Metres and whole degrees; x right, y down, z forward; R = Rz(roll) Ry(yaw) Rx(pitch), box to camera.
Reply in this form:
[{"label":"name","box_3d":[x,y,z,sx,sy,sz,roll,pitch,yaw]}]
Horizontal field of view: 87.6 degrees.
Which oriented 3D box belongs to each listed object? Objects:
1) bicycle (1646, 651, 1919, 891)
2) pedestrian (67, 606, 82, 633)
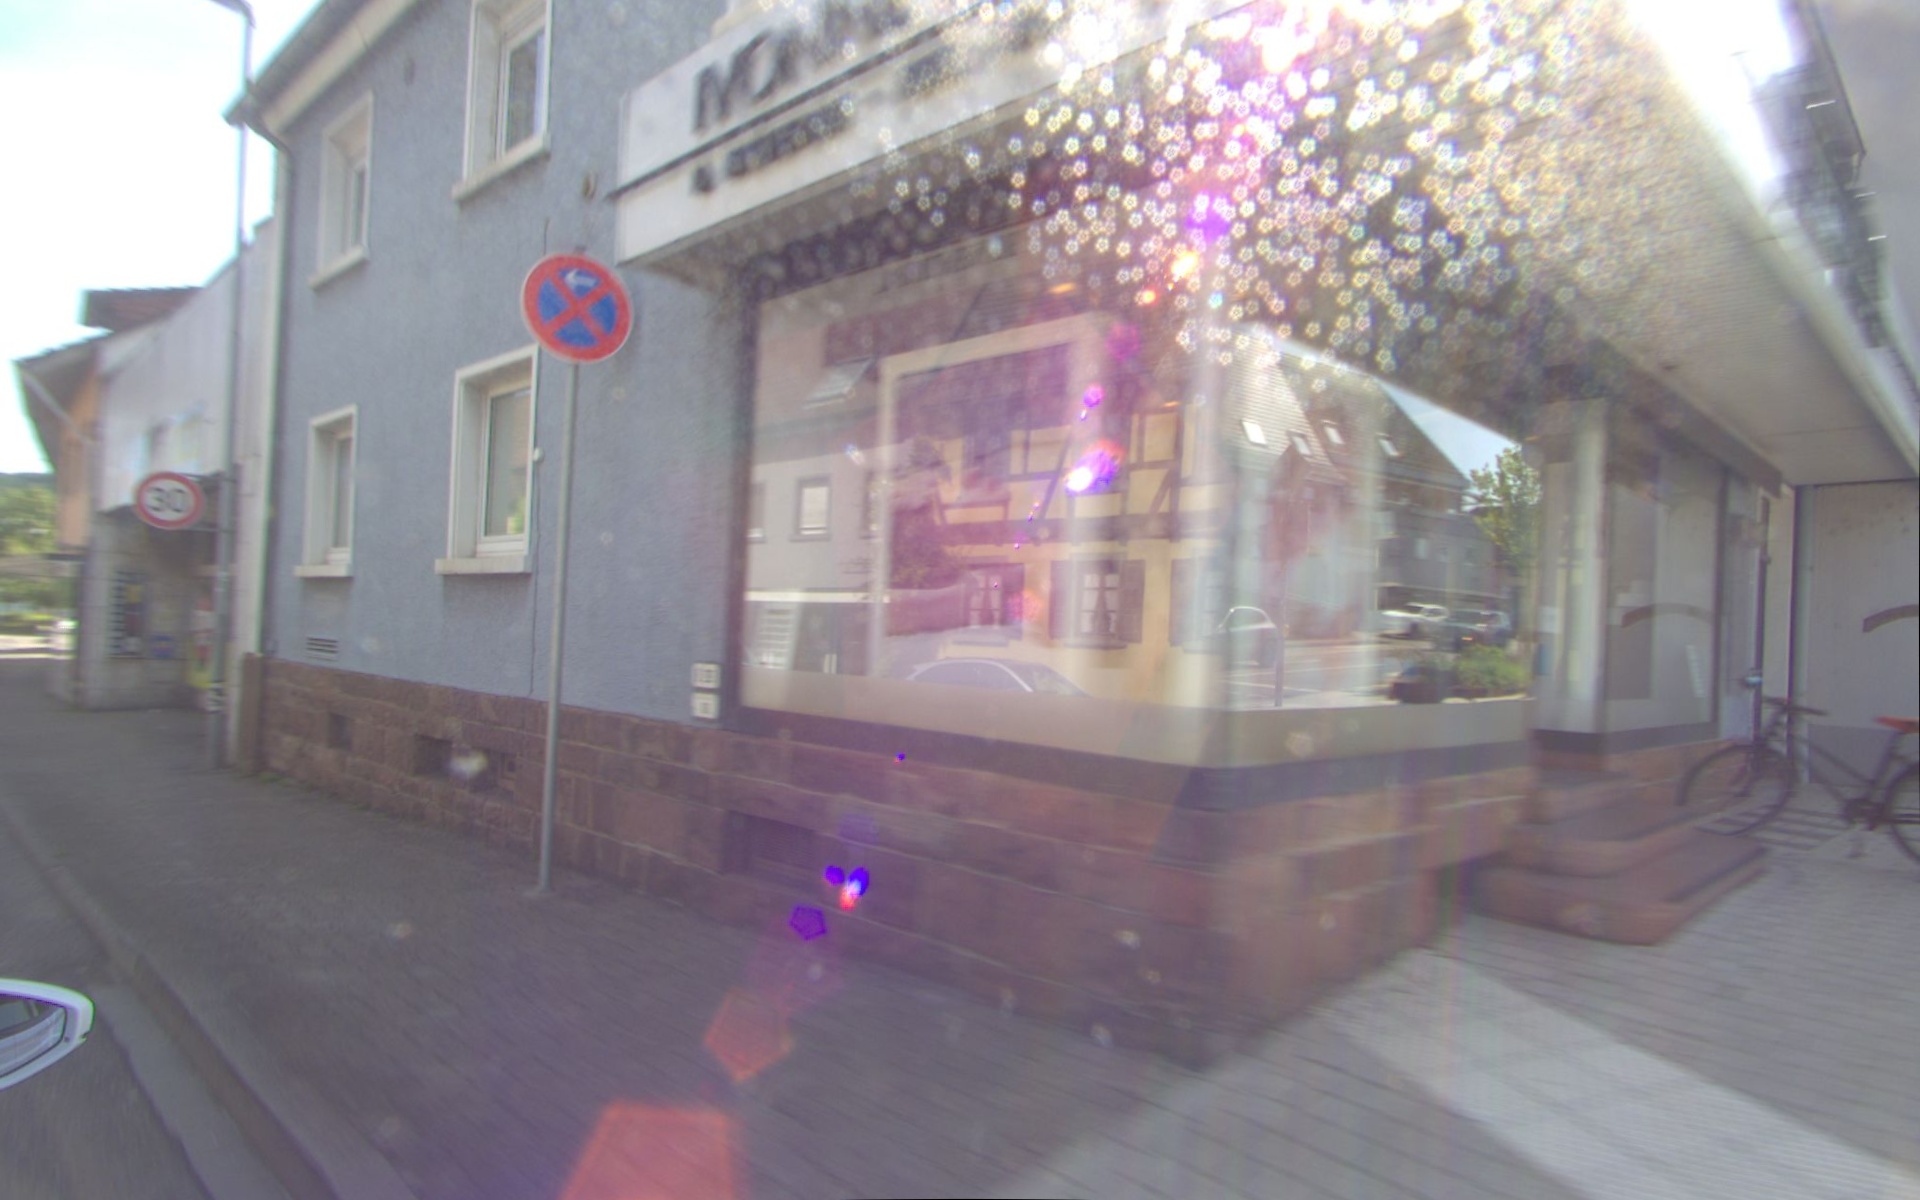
[{"label":"bicycle","box_3d":[5.210,0.967,5.931,0.543,1.250,1.795,2,-1,-37]},{"label":"pedestrian","box_3d":[-58.024,1.315,65.606,0.693,1.728,0.639,-2,-4,42]}]
